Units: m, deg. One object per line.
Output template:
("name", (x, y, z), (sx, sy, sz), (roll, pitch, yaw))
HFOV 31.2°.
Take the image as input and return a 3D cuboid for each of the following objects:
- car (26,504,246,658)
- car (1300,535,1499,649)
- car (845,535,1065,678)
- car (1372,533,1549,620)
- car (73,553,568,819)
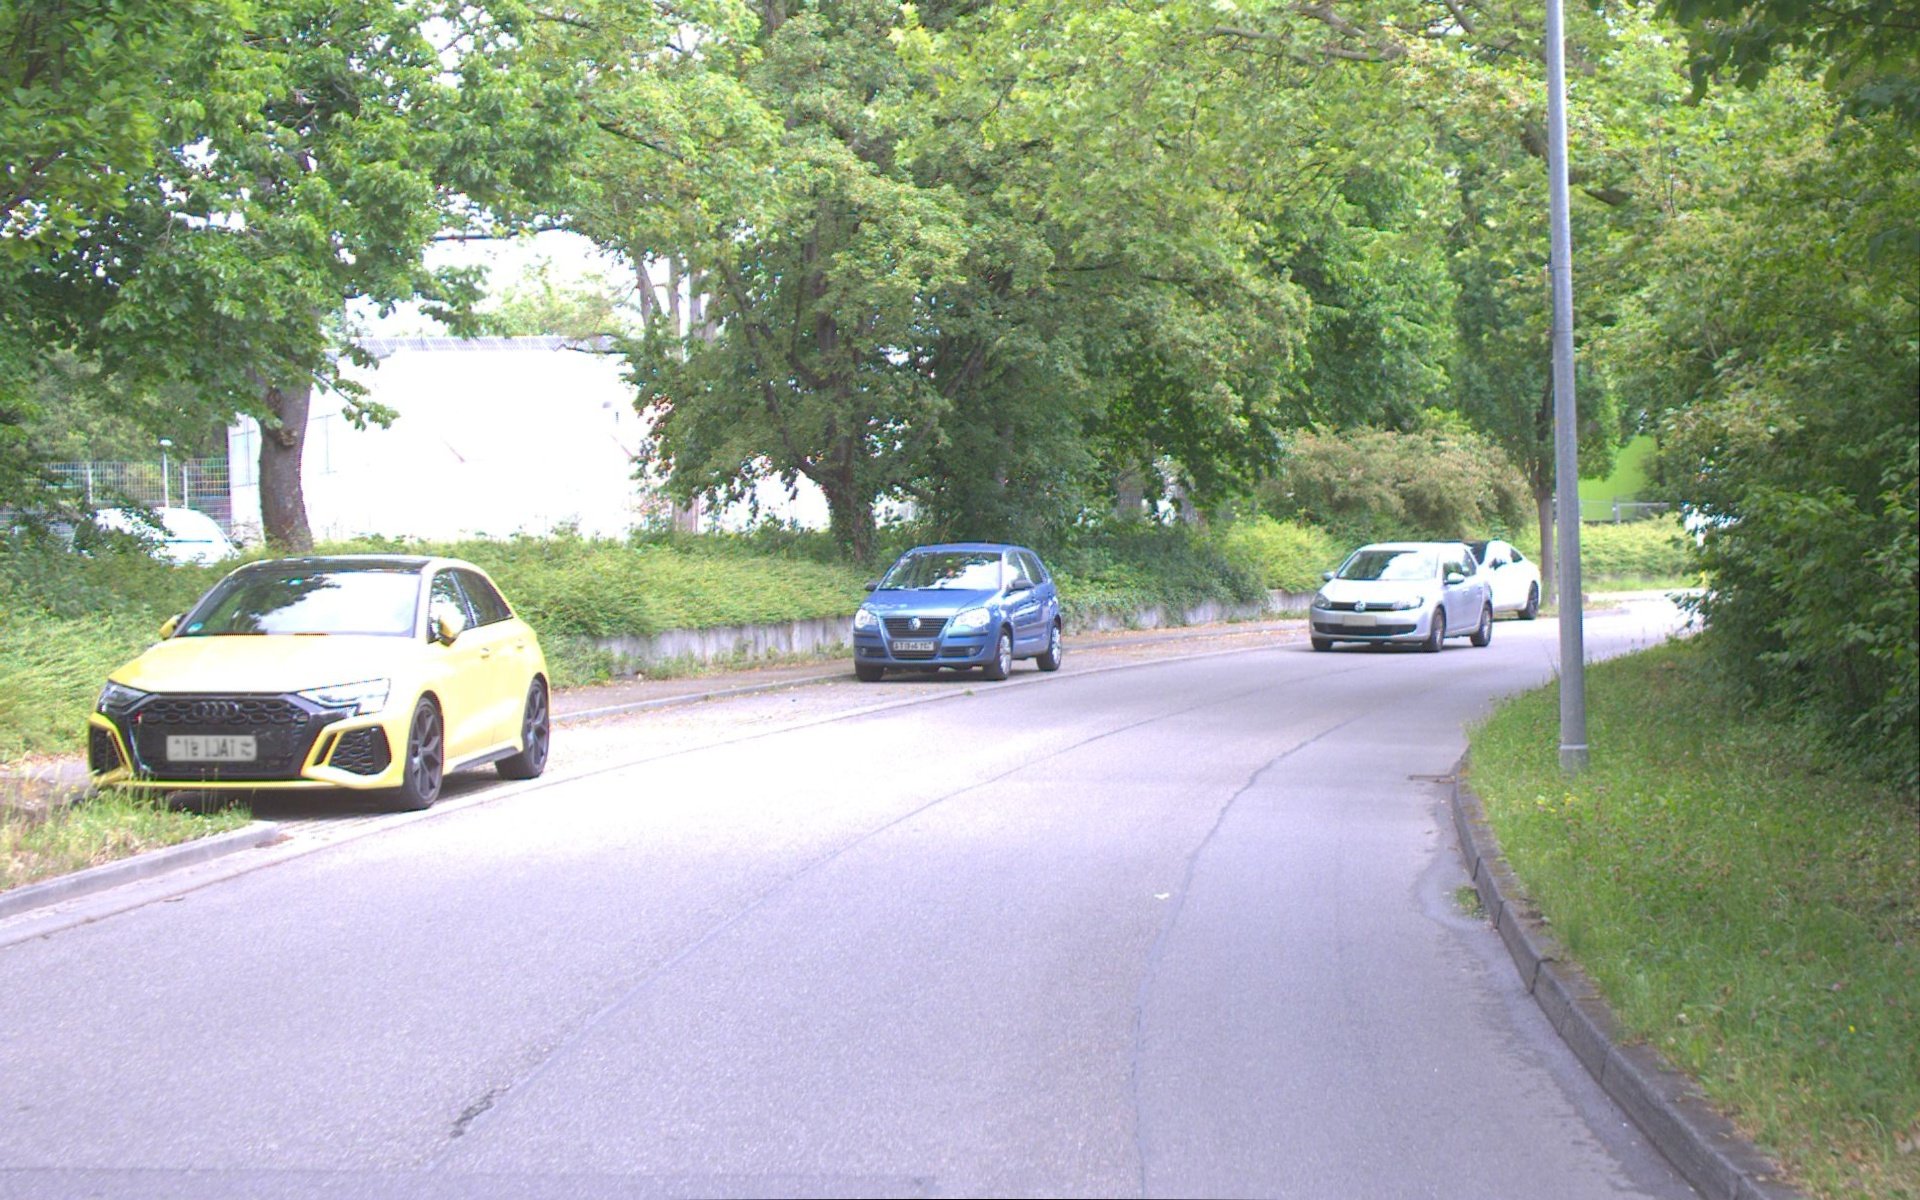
("car", (-9.617, -0.265, 39.951), (1.740, 1.616, 3.874), (-3, 3, -24))
("car", (6.123, -0.143, 47.567), (1.678, 1.457, 4.057), (1, 2, 23))
("car", (-0.003, 0.037, 37.929), (1.534, 1.454, 3.718), (-1, 1, 14))
("car", (8.676, -0.438, 59.324), (1.816, 1.419, 4.355), (1, 2, 25))
("car", (-3.641, 0.429, 20.368), (1.700, 1.398, 4.272), (0, 1, 6))
